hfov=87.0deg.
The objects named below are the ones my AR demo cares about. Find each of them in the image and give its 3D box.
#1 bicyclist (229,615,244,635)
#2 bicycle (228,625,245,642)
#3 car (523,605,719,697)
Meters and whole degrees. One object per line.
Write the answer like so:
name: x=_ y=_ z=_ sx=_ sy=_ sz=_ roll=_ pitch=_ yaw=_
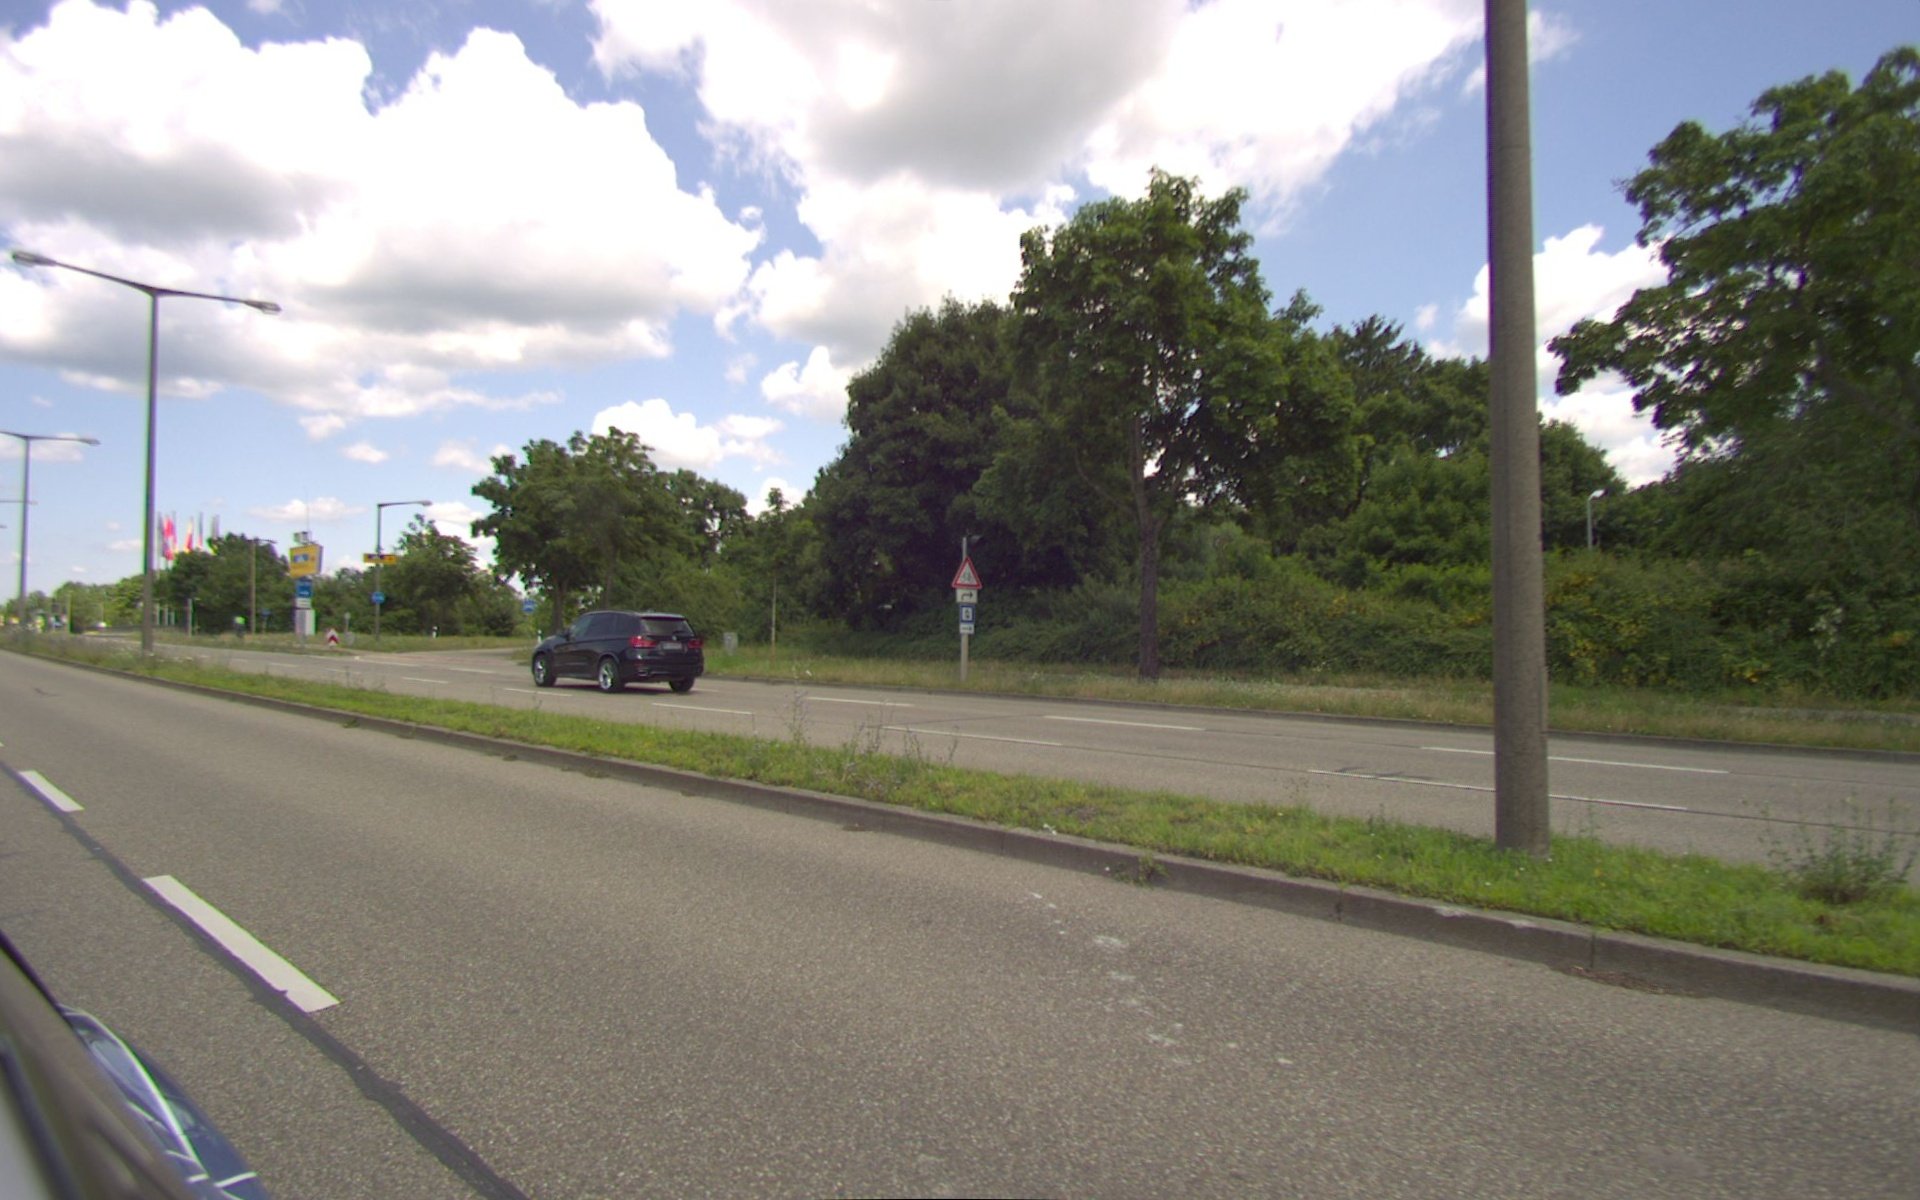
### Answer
bicyclist: x=-45.908 y=1.584 z=64.227 sx=1.106 sy=1.282 sz=0.515 roll=-3 pitch=-2 yaw=40
bicycle: x=-45.909 y=2.121 z=64.216 sx=1.906 sy=1.076 sz=0.427 roll=-3 pitch=-2 yaw=40
car: x=-7.515 y=1.087 z=22.183 sx=4.725 sy=1.804 sz=1.857 roll=-1 pitch=-4 yaw=40
